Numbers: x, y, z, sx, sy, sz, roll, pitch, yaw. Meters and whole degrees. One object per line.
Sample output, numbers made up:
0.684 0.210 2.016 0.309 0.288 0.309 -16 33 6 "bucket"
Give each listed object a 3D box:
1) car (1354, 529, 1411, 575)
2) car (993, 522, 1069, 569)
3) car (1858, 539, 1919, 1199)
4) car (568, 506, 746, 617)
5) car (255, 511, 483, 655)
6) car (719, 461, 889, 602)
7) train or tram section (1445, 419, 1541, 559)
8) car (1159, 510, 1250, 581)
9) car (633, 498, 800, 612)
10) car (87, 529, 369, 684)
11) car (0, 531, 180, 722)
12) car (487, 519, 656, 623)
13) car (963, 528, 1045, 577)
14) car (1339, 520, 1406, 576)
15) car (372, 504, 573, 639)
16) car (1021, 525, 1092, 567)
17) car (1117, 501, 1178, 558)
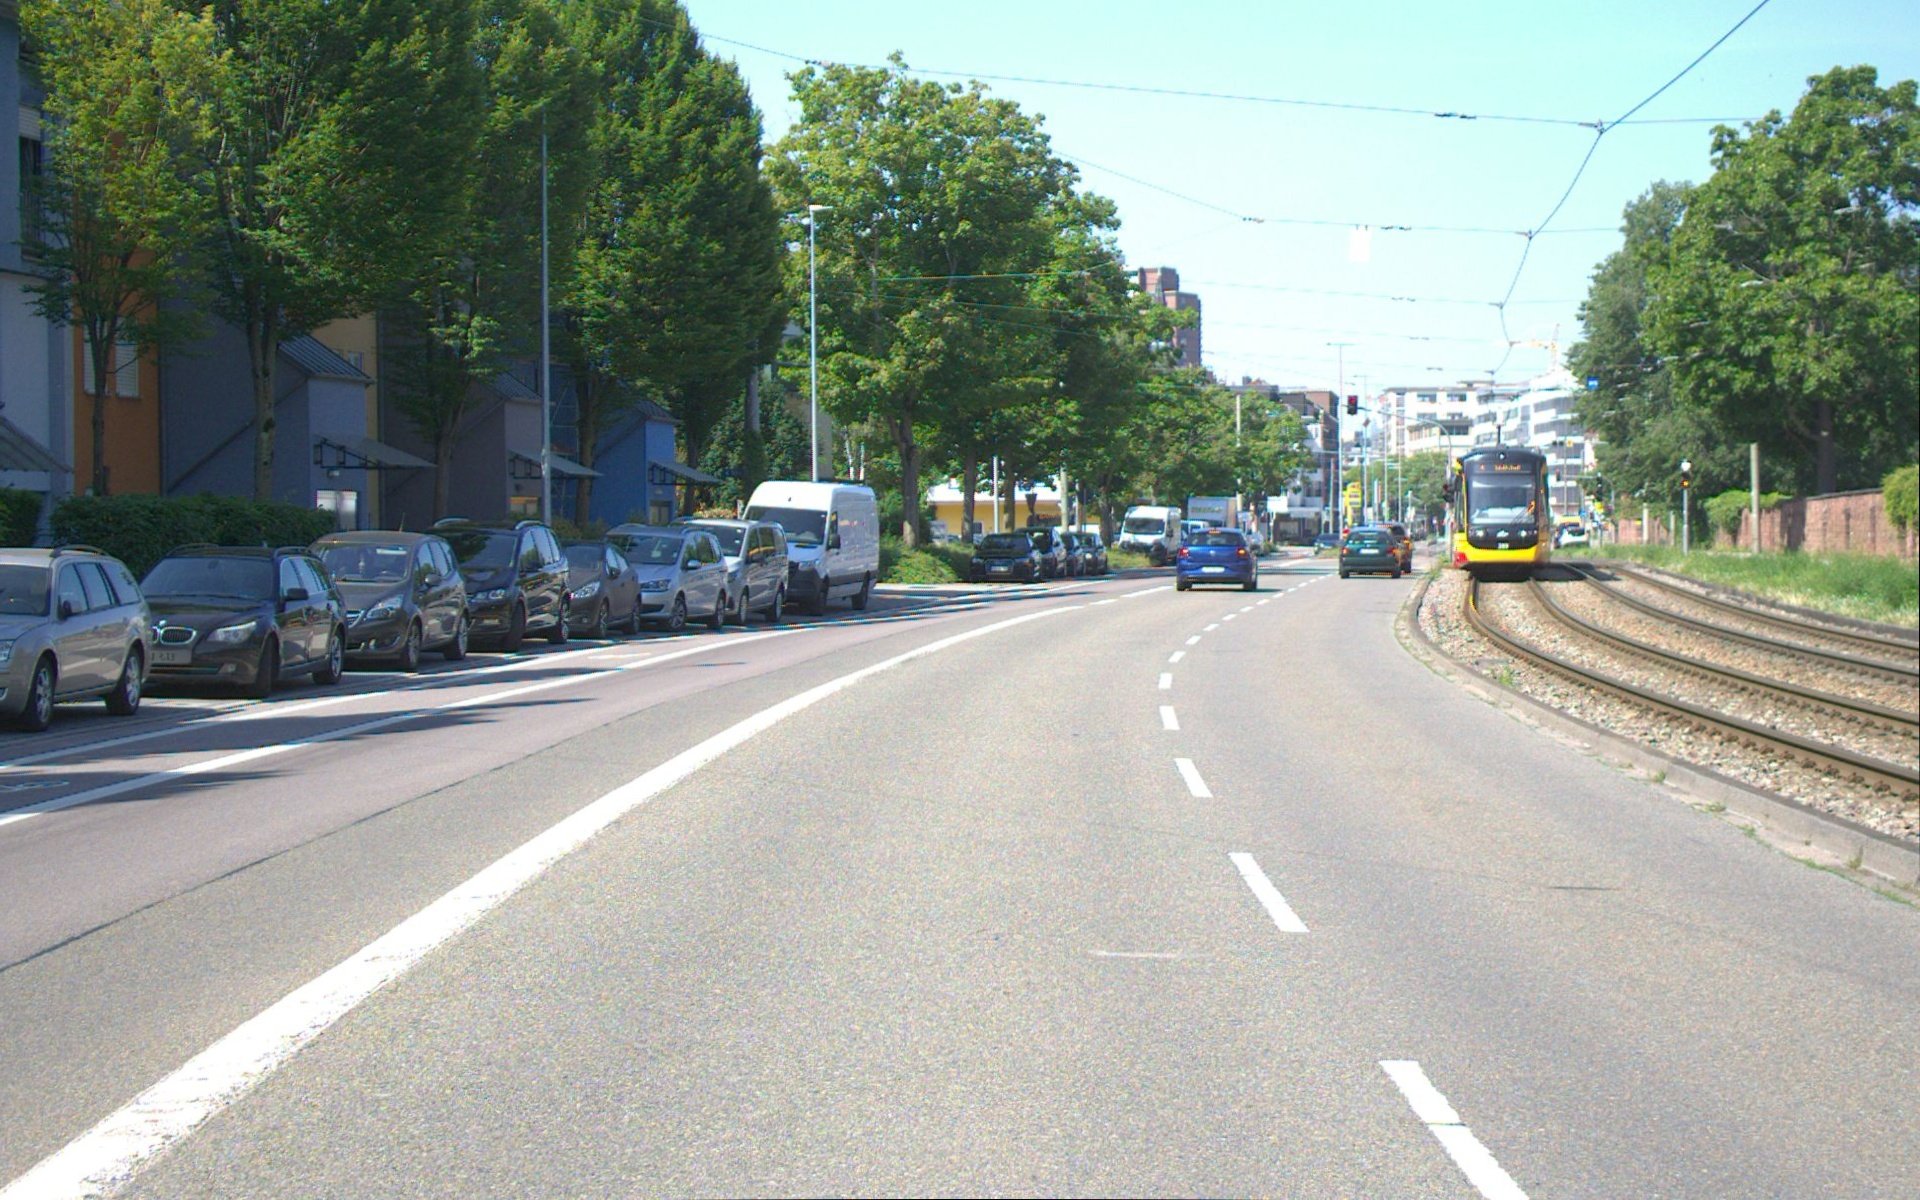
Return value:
13.801 -1.584 112.210 1.801 1.455 3.999 0 1 8 "car"
2.275 -1.749 109.270 1.700 1.477 3.998 0 1 12 "car"
2.410 0.677 3.584 1.691 1.446 4.459 0 1 -1 "car"
-5.077 -0.682 58.227 1.801 1.718 4.908 3 2 9 "car"
-7.141 -0.249 41.910 1.717 1.619 4.312 1 1 4 "car"
-3.177 -1.429 71.729 1.995 2.704 7.154 3 1 9 "car"
15.422 -3.142 98.924 2.512 3.734 13.306 0 1 10 "train or tram section"
5.650 -1.275 79.081 1.801 1.502 3.999 1 2 8 "car"
-4.440 -0.848 63.575 1.920 1.941 5.353 3 1 8 "car"
-7.585 0.015 36.075 1.723 1.469 4.715 1 1 3 "car"
-8.190 0.160 29.485 1.780 1.478 4.857 1 1 1 "car"
-5.928 -0.478 52.868 1.690 1.469 4.048 3 1 6 "car"
1.332 -1.431 101.846 1.700 1.412 3.998 0 1 12 "car"
11.808 -1.509 98.280 1.801 1.502 3.999 1 2 8 "car"
-6.643 -0.431 47.307 1.769 1.717 4.870 2 1 3 "car"
3.233 -1.811 114.595 1.700 1.347 3.998 0 1 12 "car"
8.098 -3.058 148.472 1.881 2.407 5.114 0 1 12 "car"
